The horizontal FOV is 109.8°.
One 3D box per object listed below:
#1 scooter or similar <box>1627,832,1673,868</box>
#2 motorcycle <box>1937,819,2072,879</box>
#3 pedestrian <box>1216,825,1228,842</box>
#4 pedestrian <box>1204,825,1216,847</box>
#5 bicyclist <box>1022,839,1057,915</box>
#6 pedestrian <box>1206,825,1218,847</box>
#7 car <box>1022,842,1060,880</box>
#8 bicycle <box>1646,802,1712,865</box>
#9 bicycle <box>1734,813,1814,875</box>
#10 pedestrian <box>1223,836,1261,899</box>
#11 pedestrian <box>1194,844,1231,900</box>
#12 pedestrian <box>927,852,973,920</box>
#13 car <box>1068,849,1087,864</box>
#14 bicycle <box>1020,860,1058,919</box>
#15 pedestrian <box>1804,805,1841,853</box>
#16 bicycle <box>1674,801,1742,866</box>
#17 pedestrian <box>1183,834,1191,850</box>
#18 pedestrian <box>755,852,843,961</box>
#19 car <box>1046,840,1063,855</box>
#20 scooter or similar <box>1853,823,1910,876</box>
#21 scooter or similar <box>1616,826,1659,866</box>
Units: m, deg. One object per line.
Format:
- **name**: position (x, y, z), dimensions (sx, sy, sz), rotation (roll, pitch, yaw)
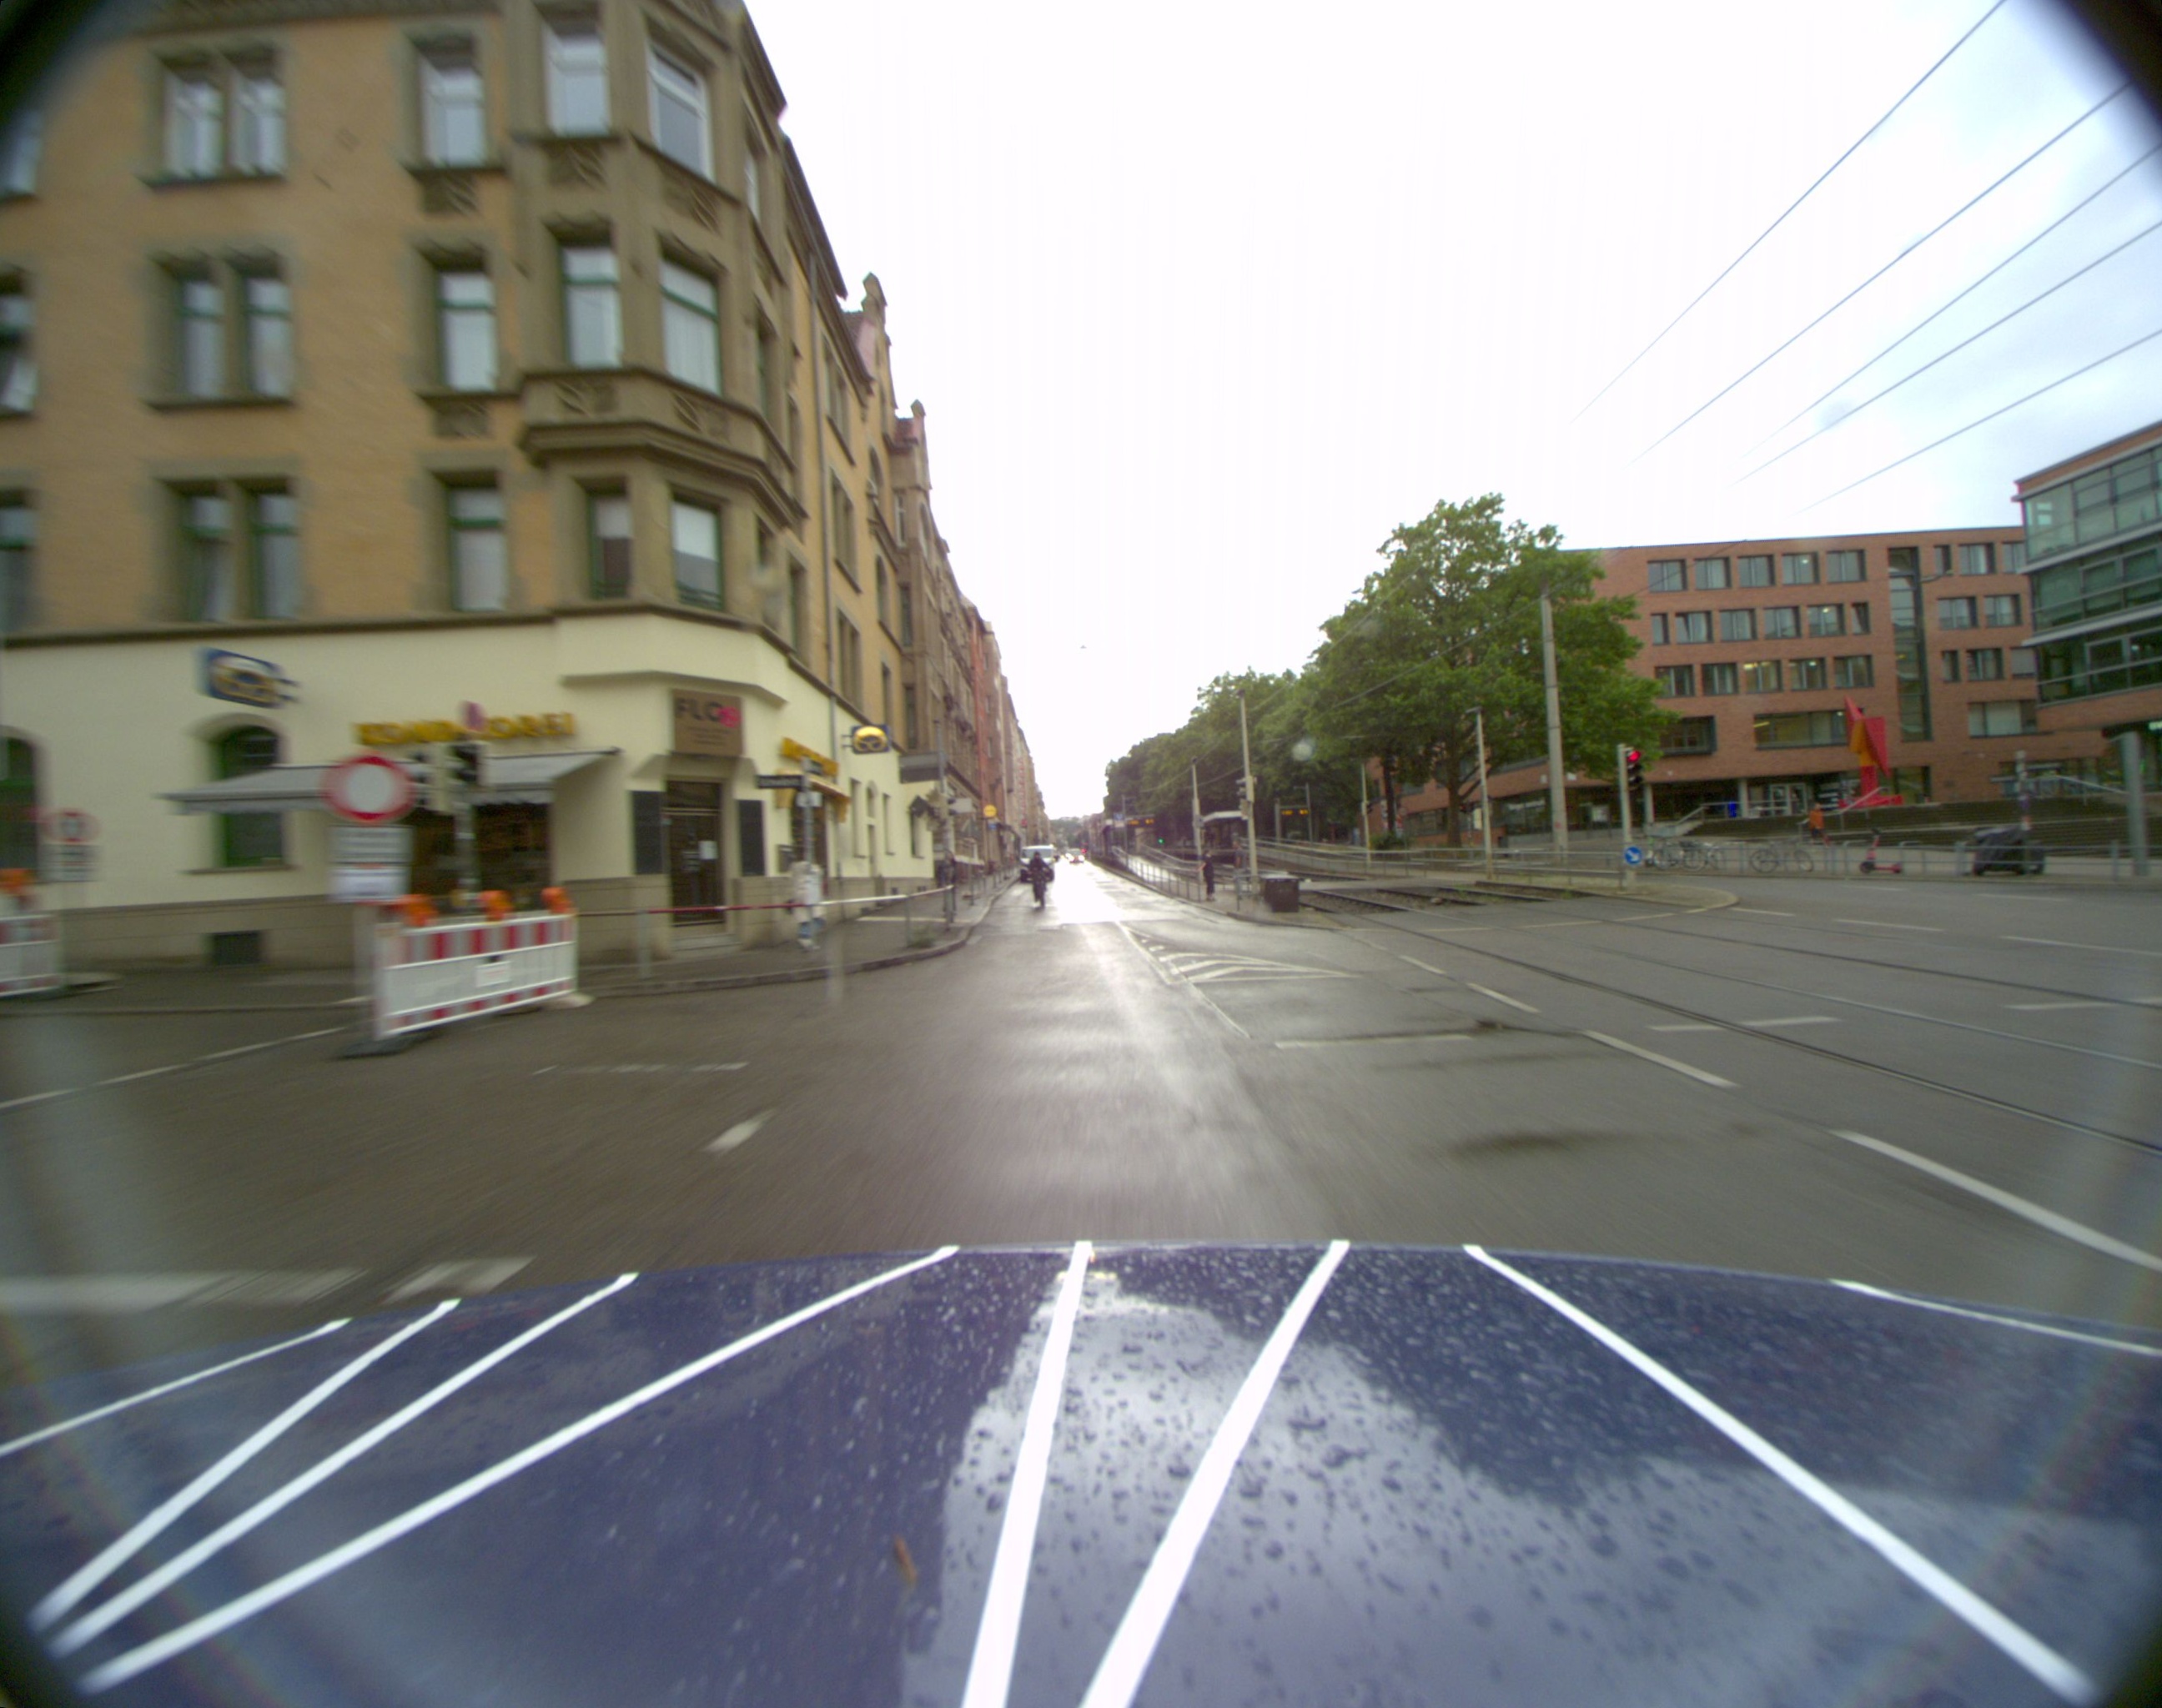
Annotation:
- **scooter or similar**: position (20.278, -0.150, 27.058), dimensions (1.720, 1.187, 0.478), rotation (-3, 2, -22)
- **motorcycle**: position (22.952, -0.140, 18.906), dimensions (2.659, 1.363, 0.865), rotation (-2, 2, -8)
- **pedestrian**: position (12.350, -1.787, 66.677), dimensions (0.781, 1.475, 0.883), rotation (-2, 2, -5)
- **pedestrian**: position (12.169, -1.709, 71.558), dimensions (0.837, 2.051, 0.883), rotation (-2, 2, -5)
- **bicyclist**: position (-1.259, 0.670, 23.306), dimensions (0.921, 2.250, 1.287), rotation (-2, 2, 0)
- **pedestrian**: position (12.044, -1.652, 69.764), dimensions (0.837, 2.051, 0.883), rotation (-2, 2, -5)
- **car**: position (-2.255, 0.339, 44.463), dimensions (1.825, 1.894, 5.989), rotation (-3, 1, 0)
- **bicycle**: position (20.178, -0.677, 25.642), dimensions (1.896, 2.002, 0.518), rotation (-3, 2, -8)
- **bicycle**: position (20.647, -0.300, 22.637), dimensions (2.097, 1.689, 0.556), rotation (-4, 3, -8)
- **pedestrian**: position (4.763, 0.391, 22.531), dimensions (0.828, 1.788, 1.001), rotation (-2, 2, -4)
- **pedestrian**: position (3.903, 0.526, 22.646), dimensions (0.837, 1.595, 1.001), rotation (-2, 2, -4)
- **pedestrian**: position (-3.378, 0.810, 19.726), dimensions (1.019, 1.711, 0.930), rotation (1, 2, 0)
- **car**: position (-0.408, 0.224, 82.682), dimensions (1.884, 1.439, 3.998), rotation (-2, 1, -2)
- **bicycle**: position (-1.224, 1.017, 23.024), dimensions (0.936, 1.546, 3.134), rotation (-2, 1, 0)
- **pedestrian**: position (28.824, -0.976, 29.561), dimensions (0.791, 1.736, 1.070), rotation (-1, 6, 32)
- **bicycle**: position (20.337, -0.662, 24.656), dimensions (1.896, 2.002, 0.518), rotation (-3, 2, -8)
- **pedestrian**: position (12.204, -1.390, 87.545), dimensions (0.677, 1.780, 0.703), rotation (-2, 1, -1)
- **pedestrian**: position (-4.637, 0.839, 12.526), dimensions (0.994, 1.695, 0.782), rotation (-2, 2, 23)
- **car**: position (-3.551, -0.919, 101.150), dimensions (1.884, 1.838, 3.997), rotation (-3, 1, -5)
- **scooter or similar**: position (21.779, -0.120, 20.667), dimensions (1.508, 1.363, 0.452), rotation (-3, 2, -18)
- **scooter or similar**: position (20.316, -0.297, 27.732), dimensions (1.508, 1.363, 0.452), rotation (-3, 2, -18)
